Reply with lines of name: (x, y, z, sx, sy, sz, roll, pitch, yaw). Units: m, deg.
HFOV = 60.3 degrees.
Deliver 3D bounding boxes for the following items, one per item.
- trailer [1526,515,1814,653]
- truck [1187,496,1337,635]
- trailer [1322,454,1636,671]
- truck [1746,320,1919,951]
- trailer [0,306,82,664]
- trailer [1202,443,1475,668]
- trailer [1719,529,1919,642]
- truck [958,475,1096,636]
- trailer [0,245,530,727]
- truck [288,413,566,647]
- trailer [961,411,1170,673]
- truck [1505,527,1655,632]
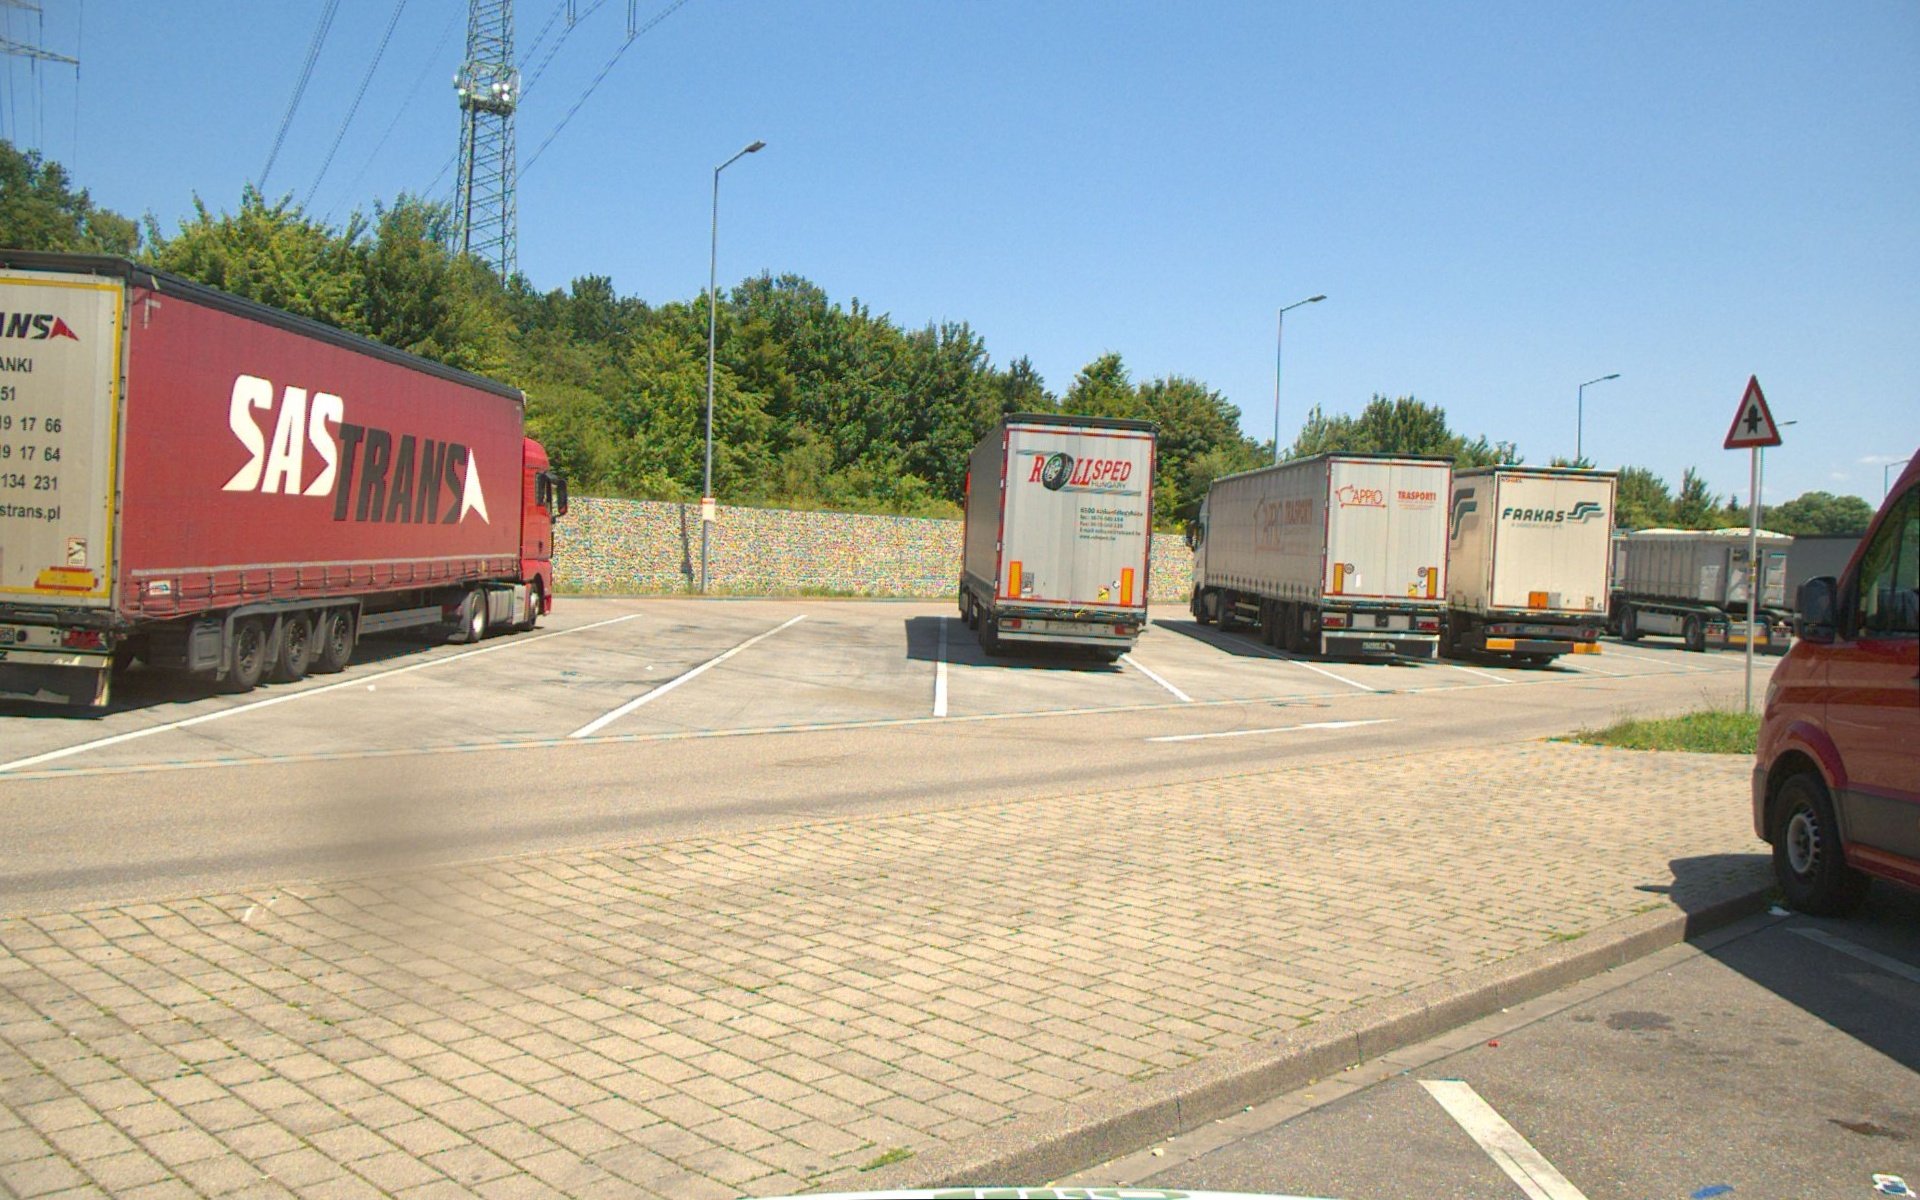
trailer: (21.835, -0.676, 52.264, 2.800, 3.662, 13.762, 2, 2, -1)
truck: (8.127, -0.982, 45.282, 2.808, 3.421, 5.974, 2, 2, -1)
trailer: (11.770, -0.987, 39.584, 2.800, 4.180, 13.762, 2, 2, -1)
truck: (4.996, 0.162, 5.536, 1.969, 2.697, 6.457, 1, 0, 3)
trailer: (-12.485, -1.258, 15.811, 2.651, 4.173, 10.389, 2, 2, -1)
trailer: (8.250, -1.098, 38.520, 2.800, 4.180, 13.762, 2, 2, -1)
trailer: (34.787, -0.703, 65.464, 2.800, 3.972, 13.762, 2, 2, -1)
truck: (1.475, -1.090, 39.363, 2.808, 3.421, 5.974, 2, 2, -1)
trailer: (-8.689, -1.269, 21.268, 2.764, 4.141, 13.763, 2, 2, -1)
truck: (-8.798, -1.162, 28.084, 2.755, 3.421, 5.974, 2, 2, -1)
trailer: (1.677, -1.173, 33.166, 2.800, 4.040, 13.761, 2, 2, -2)
truck: (21.737, -0.790, 58.360, 2.808, 3.421, 5.974, 2, 2, -1)
